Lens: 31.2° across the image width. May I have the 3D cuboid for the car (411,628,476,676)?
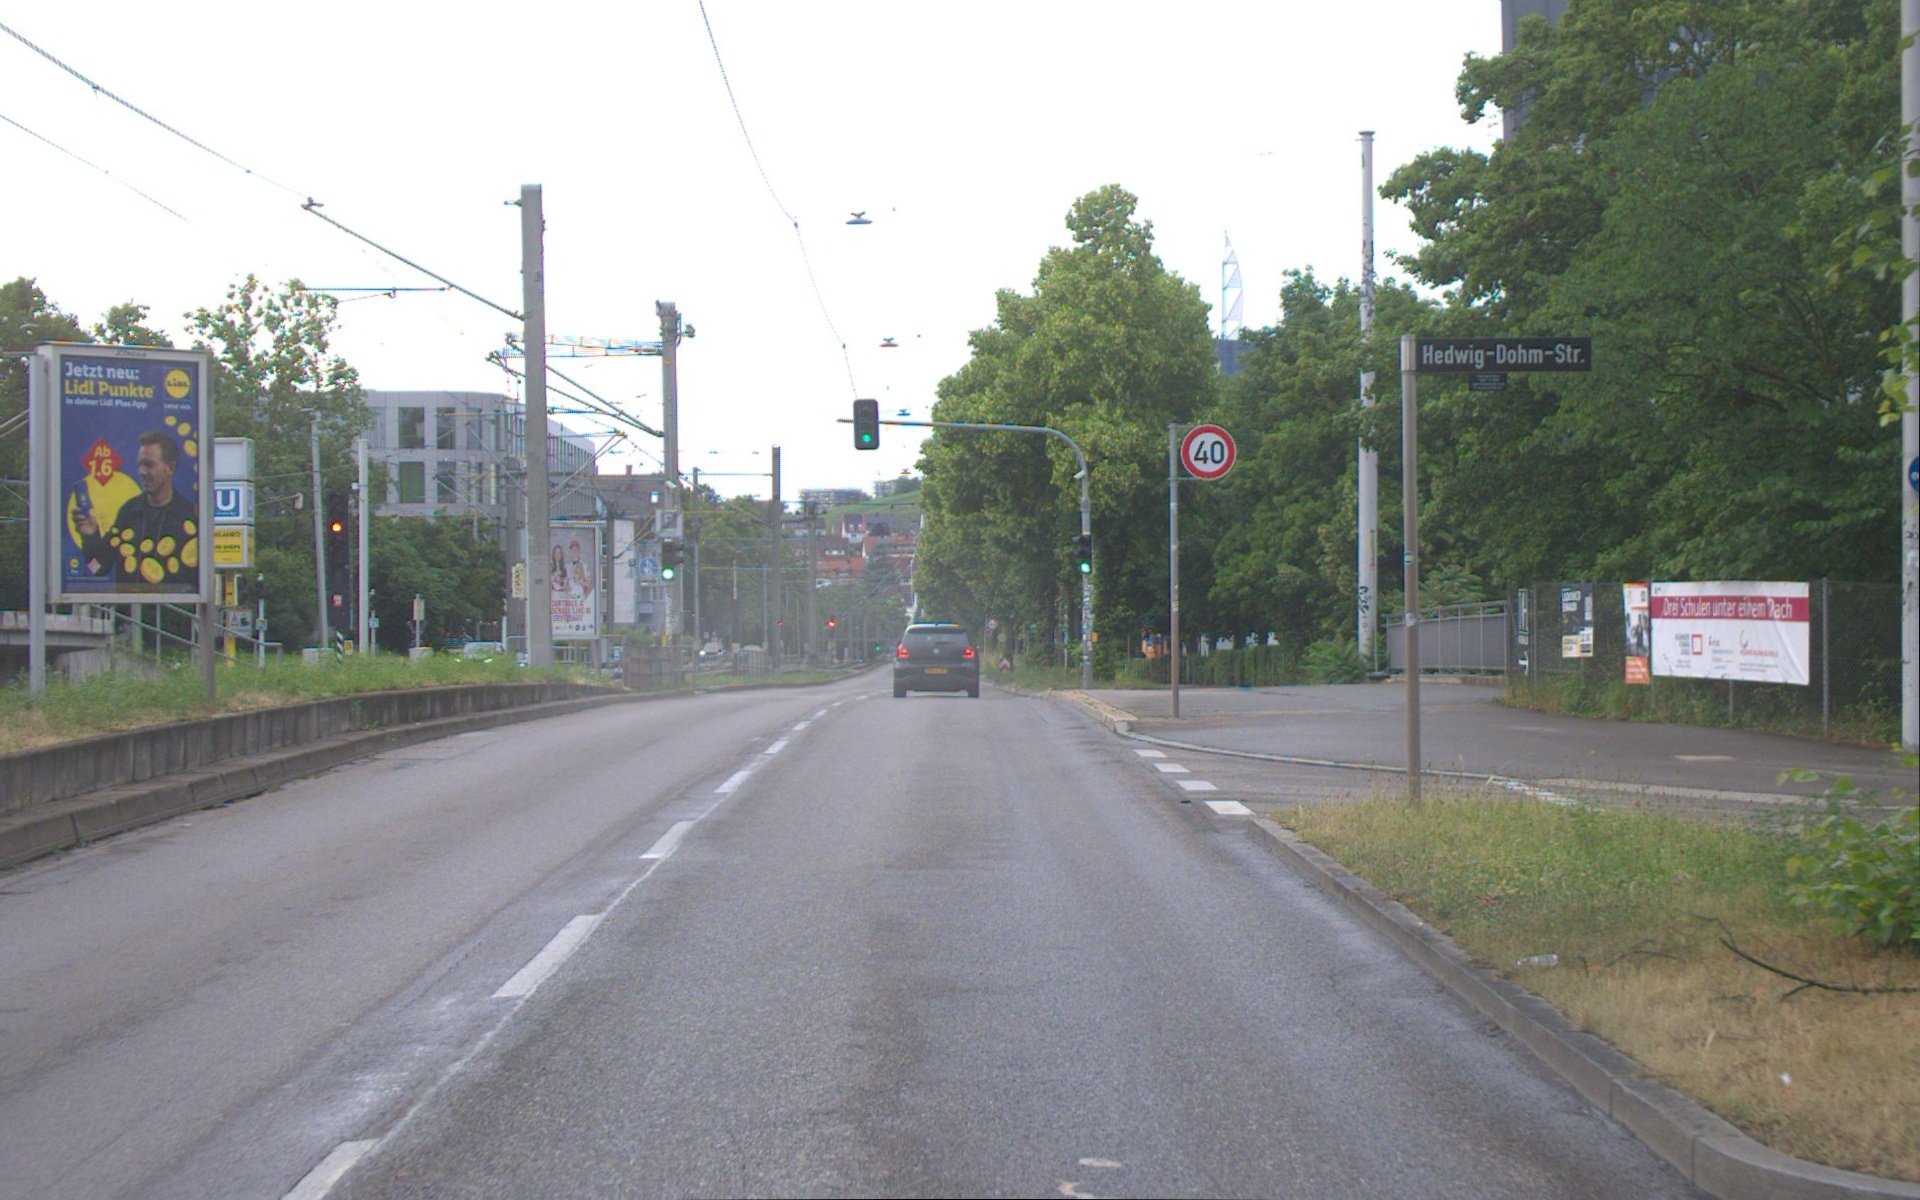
[{"bbox_3d":[-19.570,1.945,130.304,1.667,1.626,3.303,2,1,4],"label":"car"}]

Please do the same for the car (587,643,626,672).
[{"bbox_3d":[-22.942,3.734,223.471,1.850,1.626,3.609,2,1,4],"label":"car"}]

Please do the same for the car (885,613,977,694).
[{"bbox_3d":[-0.575,1.038,67.041,1.726,1.535,4.000,0,-1,-1],"label":"car"}]
